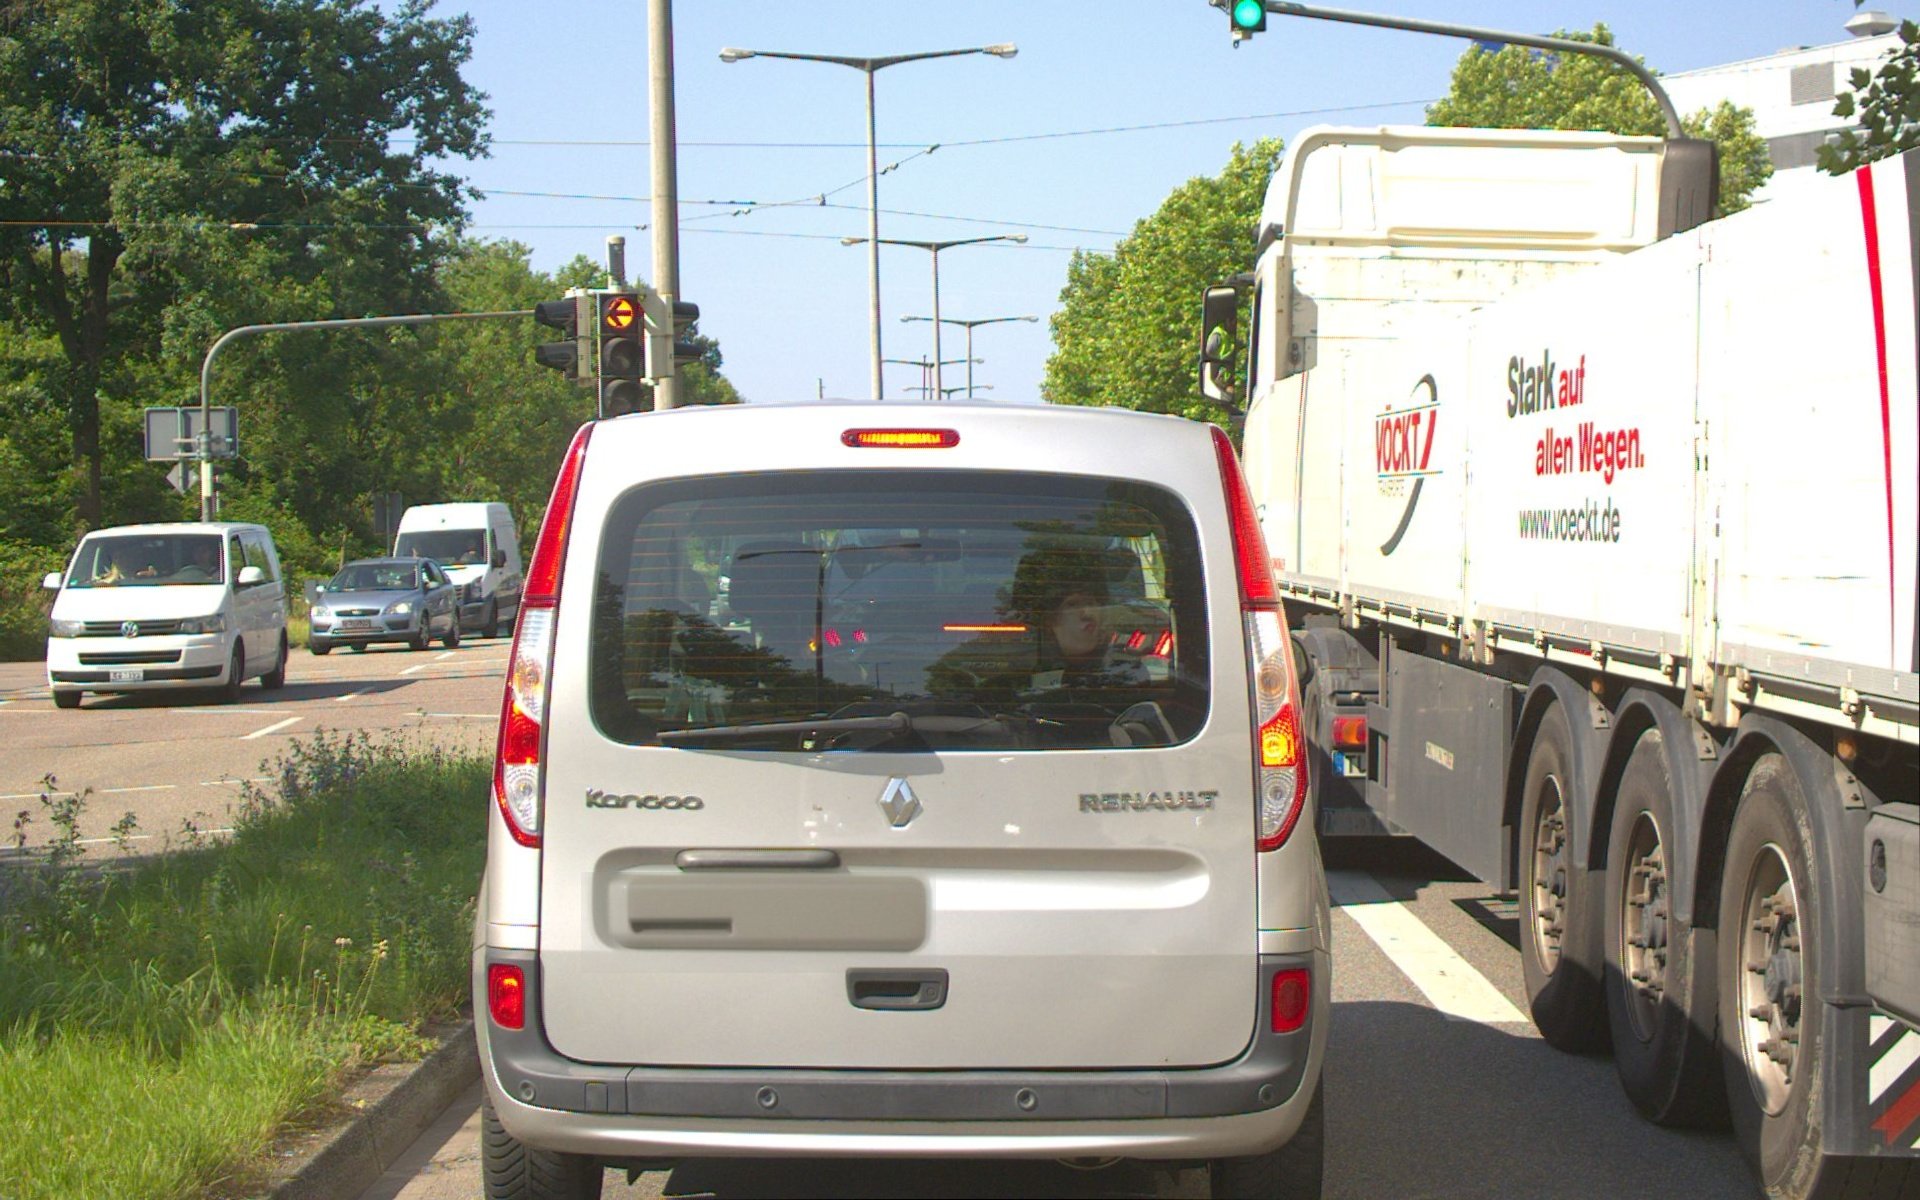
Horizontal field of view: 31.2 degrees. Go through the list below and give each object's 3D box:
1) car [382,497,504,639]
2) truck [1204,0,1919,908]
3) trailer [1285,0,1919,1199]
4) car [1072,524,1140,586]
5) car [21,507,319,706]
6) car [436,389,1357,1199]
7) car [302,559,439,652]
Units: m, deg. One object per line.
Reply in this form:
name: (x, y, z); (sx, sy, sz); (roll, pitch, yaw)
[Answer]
car: (-9.900, -0.631, 66.193); (2.058, 2.605, 5.871); (0, 1, -6)
truck: (3.081, -0.697, 17.409); (3.071, 3.745, 7.476); (0, 1, -1)
trailer: (3.018, -0.743, 10.293); (3.016, 3.728, 12.240); (0, 1, 0)
car: (4.728, -1.468, 111.901); (1.993, 2.007, 4.000); (0, 1, -1)
car: (-8.347, 0.032, 36.803); (1.993, 1.884, 4.988); (-3, 1, -1)
car: (-0.129, 0.456, 8.507); (1.749, 1.766, 3.949); (0, 1, 0)
car: (-9.370, 0.055, 54.418); (1.910, 1.404, 4.229); (0, 1, -13)
